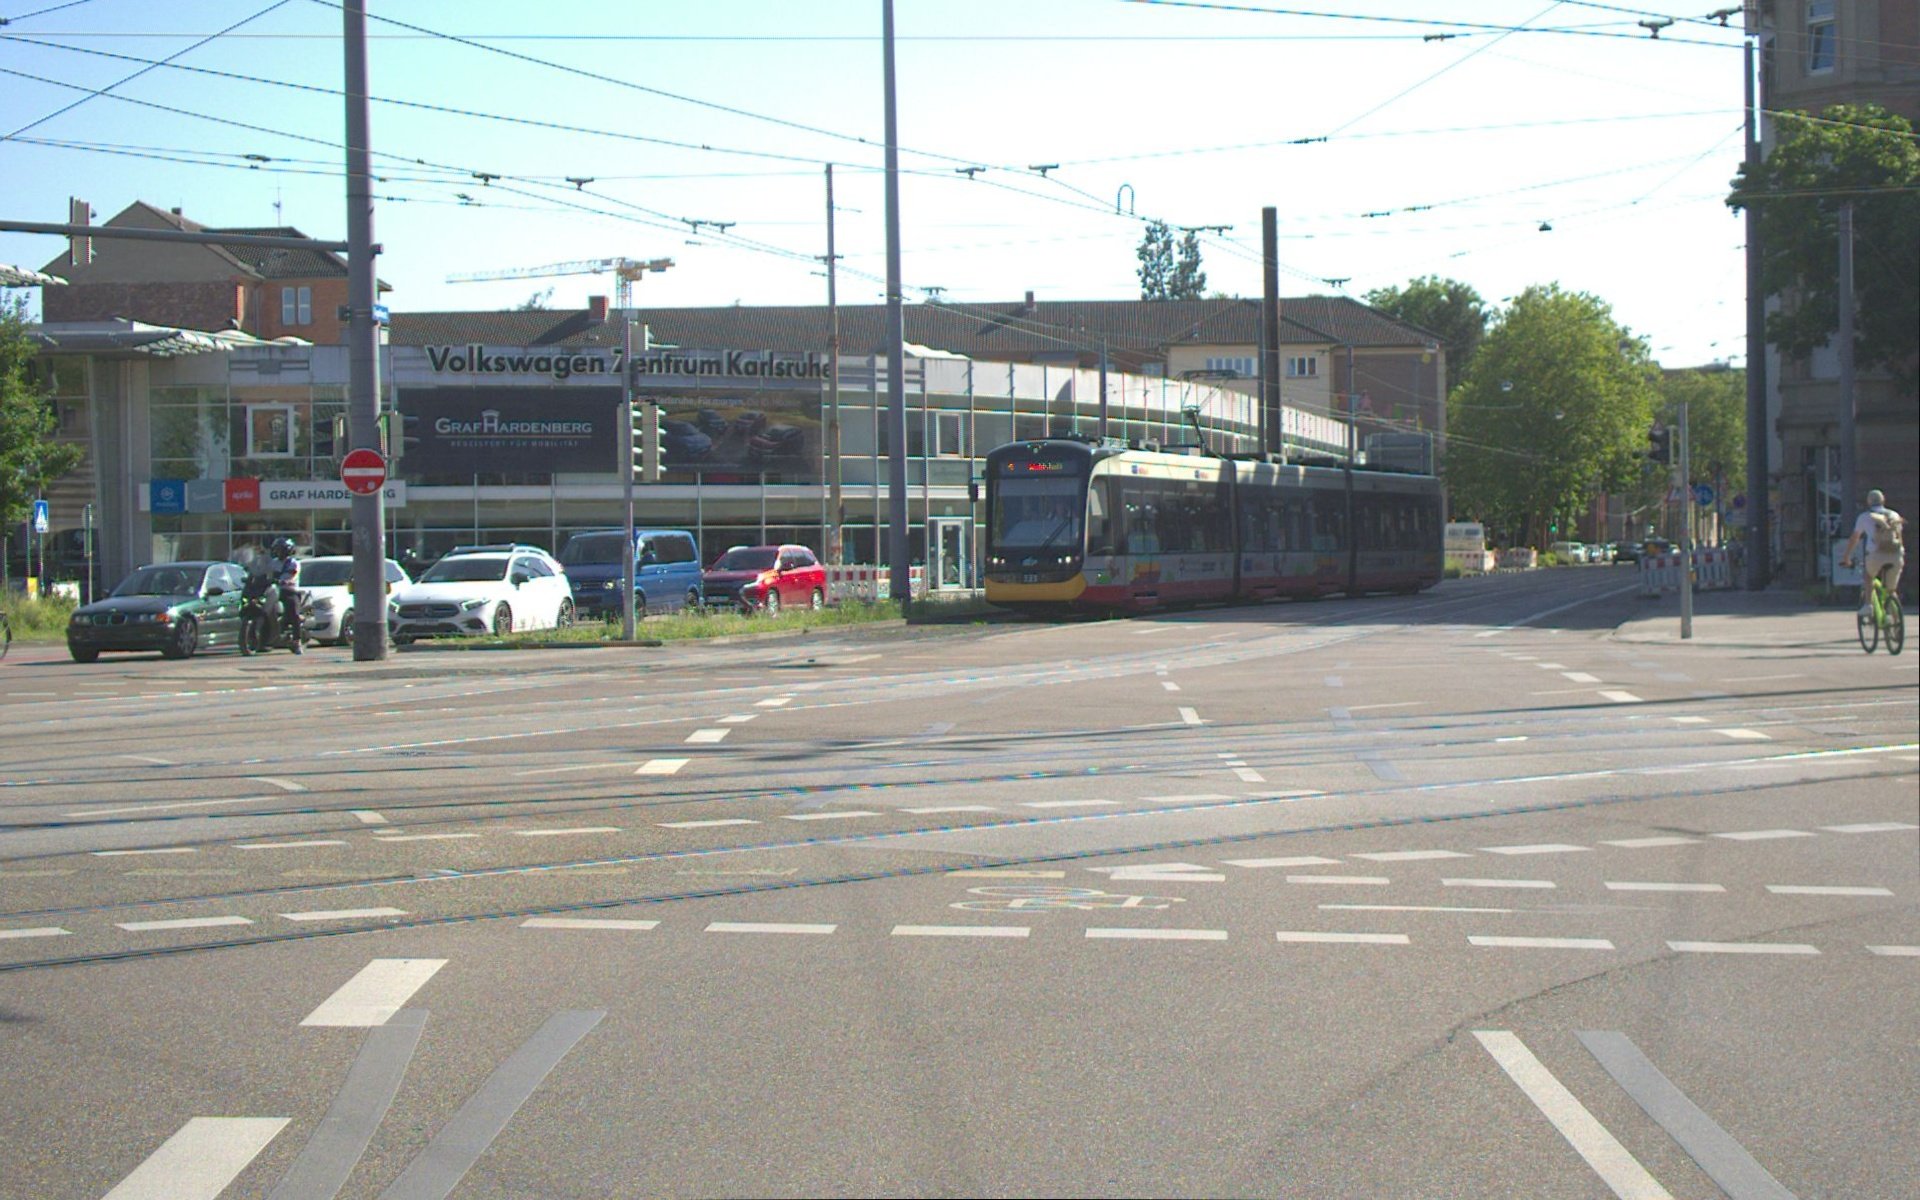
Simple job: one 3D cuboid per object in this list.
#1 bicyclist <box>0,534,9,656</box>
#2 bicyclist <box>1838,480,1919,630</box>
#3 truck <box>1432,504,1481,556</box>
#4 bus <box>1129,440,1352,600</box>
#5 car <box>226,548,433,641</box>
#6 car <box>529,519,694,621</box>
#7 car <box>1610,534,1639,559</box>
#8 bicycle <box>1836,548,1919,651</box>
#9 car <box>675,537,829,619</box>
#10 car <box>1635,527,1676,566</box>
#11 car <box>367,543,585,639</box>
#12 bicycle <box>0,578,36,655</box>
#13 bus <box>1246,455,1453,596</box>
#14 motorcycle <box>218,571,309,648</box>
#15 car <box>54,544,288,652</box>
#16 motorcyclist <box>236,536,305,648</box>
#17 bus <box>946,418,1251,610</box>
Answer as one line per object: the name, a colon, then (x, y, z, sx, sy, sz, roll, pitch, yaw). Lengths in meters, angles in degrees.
bicyclist: (-14.072, -0.072, 49.363, 0.574, 1.736, 0.601, 1, 3, 14)
bicyclist: (10.477, -0.510, 39.172, 0.681, 1.678, 1.120, 1, 1, 3)
truck: (28.347, -3.985, 196.015, 2.539, 2.820, 6.374, 1, 1, 10)
bus: (6.894, -1.889, 82.671, 2.843, 3.577, 10.716, 0, 1, 19)
car: (-10.246, -0.098, 56.144, 1.804, 1.427, 3.997, 1, 1, 14)
car: (-6.859, -0.593, 68.097, 1.804, 1.927, 4.162, -1, 0, 16)
car: (48.033, -3.854, 248.479, 1.760, 1.691, 4.141, 1, 1, 15)
bicycle: (10.459, -0.023, 39.191, 0.531, 1.113, 1.934, 1, 2, 3)
car: (-4.521, -0.480, 75.534, 1.801, 1.713, 4.412, -1, 0, 19)
car: (37.362, -2.864, 184.629, 1.995, 2.007, 3.997, 1, 1, 14)
car: (-7.594, -0.155, 54.351, 1.804, 1.427, 4.538, 1, 1, 14)
bicycle: (-14.009, 0.249, 49.612, 0.538, 1.070, 1.654, -1, 2, 14)
bus: (10.693, -1.988, 93.062, 2.844, 3.577, 11.259, 0, 1, 21)
motorcycle: (-9.919, 0.133, 48.986, 0.519, 1.043, 1.746, -1, 1, 15)
car: (-11.460, -0.051, 50.181, 1.650, 1.474, 3.968, -2, 0, 14)
motorcyclist: (-9.863, -0.111, 49.201, 0.585, 1.574, 0.943, -1, 0, 15)
bus: (3.134, -1.727, 71.061, 2.843, 3.577, 13.484, 0, 1, 18)
